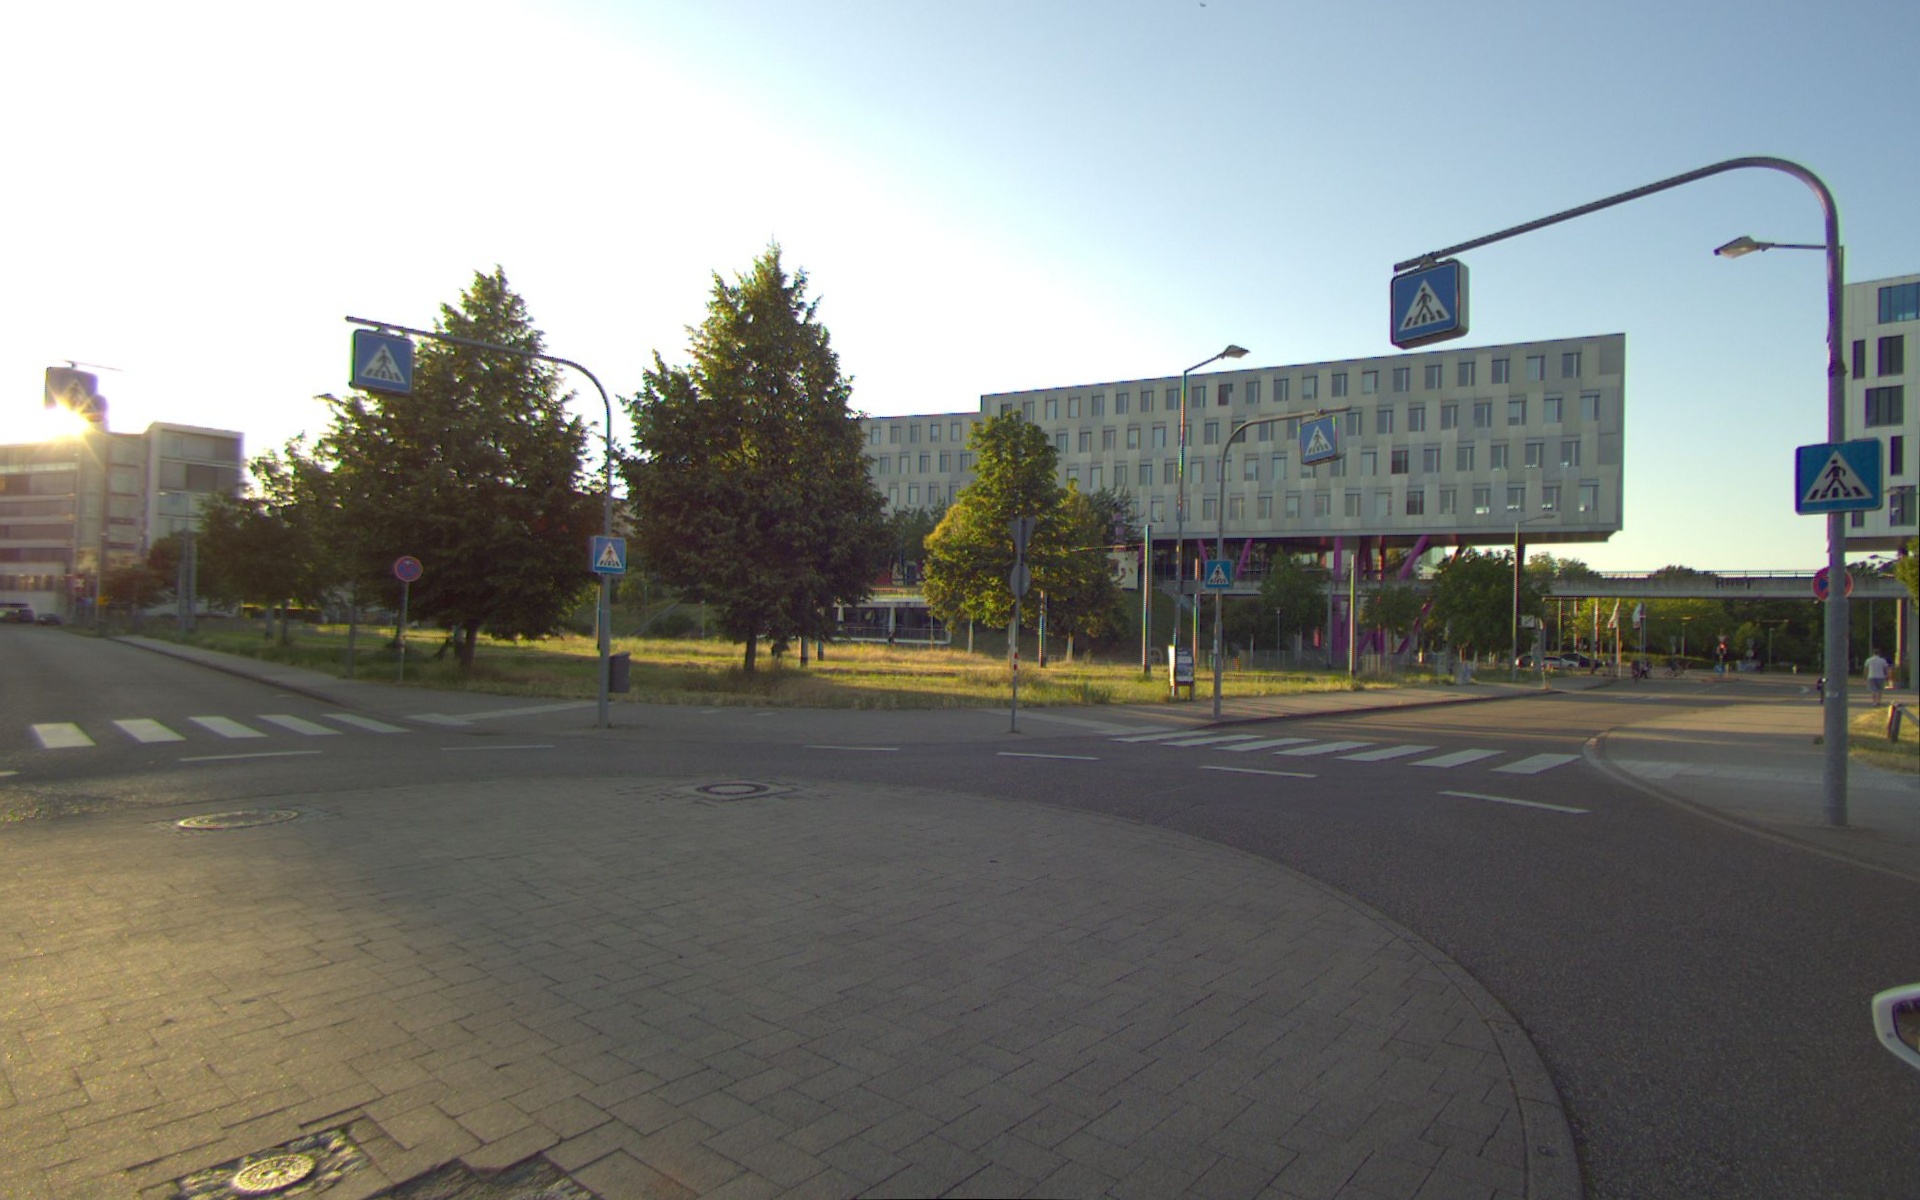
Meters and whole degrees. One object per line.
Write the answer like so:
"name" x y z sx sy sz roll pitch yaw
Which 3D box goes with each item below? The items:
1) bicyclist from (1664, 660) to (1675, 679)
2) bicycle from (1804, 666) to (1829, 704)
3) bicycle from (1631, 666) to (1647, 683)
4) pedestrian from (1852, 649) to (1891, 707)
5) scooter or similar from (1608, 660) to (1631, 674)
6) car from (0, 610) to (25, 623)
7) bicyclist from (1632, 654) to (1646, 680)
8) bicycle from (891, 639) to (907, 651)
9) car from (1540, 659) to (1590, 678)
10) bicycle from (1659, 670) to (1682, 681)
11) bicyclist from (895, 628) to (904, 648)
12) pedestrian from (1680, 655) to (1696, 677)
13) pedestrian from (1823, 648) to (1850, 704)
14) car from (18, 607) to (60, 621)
"bicyclist" 64.931 6.373 91.877 0.755 1.727 0.511 1 -1 32
"bicycle" 28.629 2.825 33.565 1.928 1.184 0.445 2 -2 -44
"bicycle" 45.250 4.962 66.888 0.533 1.057 1.913 0 -2 45
"pedestrian" 28.832 2.449 31.772 0.812 1.790 0.824 2 -1 -43
"scooter or similar" 62.137 6.336 94.659 1.834 1.189 0.762 0 -1 33
"car" -126.564 2.200 133.096 1.628 1.634 3.786 0 -2 41
"bicyclist" 45.221 4.473 66.882 0.608 1.684 1.030 0 -1 45
"bicycle" -4.568 3.391 75.550 1.218 0.912 0.429 0 -1 42
"car" 64.288 7.277 106.774 4.360 1.747 1.827 0 -2 39
"bicycle" 64.978 6.892 91.825 1.669 0.961 0.510 0 -1 32
"bicyclist" -4.567 2.834 75.565 0.506 1.514 0.422 0 -1 42
"pedestrian" 64.160 5.826 88.522 1.037 1.858 0.894 1 -1 27
"pedestrian" 29.008 2.497 33.257 0.812 1.825 0.589 2 -1 -43
"car" -117.727 1.764 128.407 1.678 1.634 3.860 0 -2 41
